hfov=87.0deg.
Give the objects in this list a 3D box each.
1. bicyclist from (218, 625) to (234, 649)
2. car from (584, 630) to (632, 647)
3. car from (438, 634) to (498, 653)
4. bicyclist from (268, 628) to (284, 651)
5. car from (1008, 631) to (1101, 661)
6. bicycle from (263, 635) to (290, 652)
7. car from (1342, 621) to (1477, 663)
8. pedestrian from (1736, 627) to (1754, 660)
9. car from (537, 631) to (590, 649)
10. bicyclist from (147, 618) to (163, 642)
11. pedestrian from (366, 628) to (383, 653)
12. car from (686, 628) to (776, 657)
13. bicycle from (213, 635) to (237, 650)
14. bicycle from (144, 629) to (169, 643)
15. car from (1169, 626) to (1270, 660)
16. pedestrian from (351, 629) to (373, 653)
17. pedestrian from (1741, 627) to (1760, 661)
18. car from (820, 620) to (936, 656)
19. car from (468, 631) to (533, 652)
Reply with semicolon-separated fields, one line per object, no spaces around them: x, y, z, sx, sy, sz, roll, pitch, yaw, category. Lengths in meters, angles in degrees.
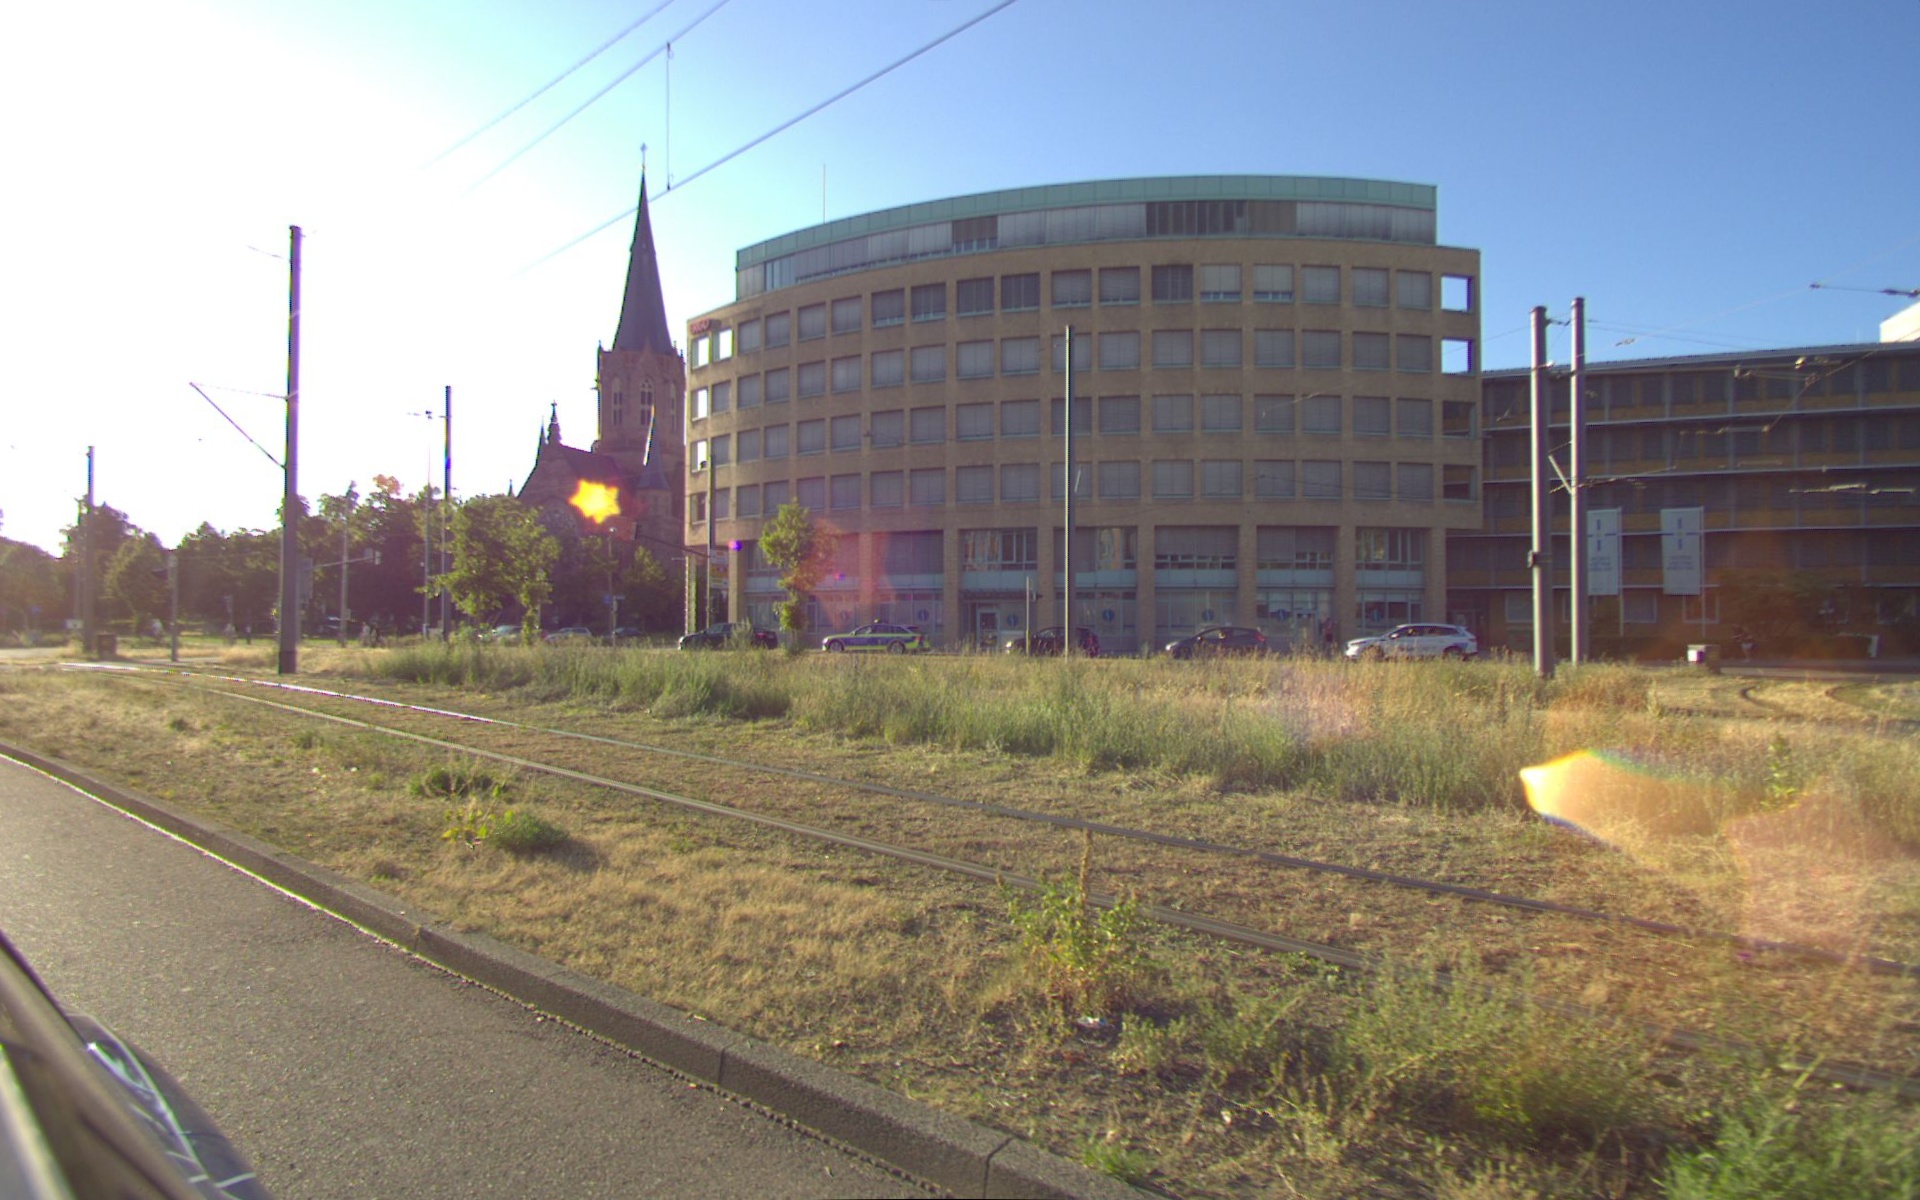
-54.017;2.718;74.446;0.888;1.693;0.571;-1;-1;19;bicyclist
-30.336;3.266;87.313;1.888;1.431;3.974;-1;-2;19;car
-37.508;3.286;77.272;1.888;1.431;3.974;-1;-2;19;car
-47.399;2.727;70.158;0.814;1.595;0.518;-1;-1;19;bicyclist
3.900;1.885;41.593;3.569;1.162;1.516;-1;-2;18;car
-47.398;3.000;70.179;1.904;1.155;0.457;-1;-1;19;bicycle
16.604;1.549;37.612;4.265;1.494;1.769;-1;-2;12;car
34.246;1.893;44.144;0.481;1.441;0.412;-1;-2;20;pedestrian
-32.123;3.245;82.043;1.888;1.431;3.974;-1;-2;19;car
-61.874;2.275;77.817;0.888;1.841;0.571;-1;-1;19;bicyclist
-40.502;2.808;70.003;0.713;1.685;0.732;-1;-2;22;pedestrian
-10.606;1.958;46.935;3.760;1.292;1.719;-1;-2;20;car
-54.036;3.126;74.438;1.916;1.034;0.457;-1;-1;20;bicycle
-61.786;2.792;77.802;1.915;1.034;0.522;-1;0;20;bicycle
10.141;1.675;39.558;3.707;1.291;1.642;-1;-2;17;car
-40.929;2.807;69.272;1.098;1.685;0.732;-1;-2;23;pedestrian
34.029;1.891;43.581;0.481;1.441;0.412;-1;-2;20;pedestrian
-3.590;1.659;44.315;4.742;1.492;1.883;-1;-2;18;car
-32.840;2.954;72.436;1.890;1.431;3.969;-1;-2;23;car
